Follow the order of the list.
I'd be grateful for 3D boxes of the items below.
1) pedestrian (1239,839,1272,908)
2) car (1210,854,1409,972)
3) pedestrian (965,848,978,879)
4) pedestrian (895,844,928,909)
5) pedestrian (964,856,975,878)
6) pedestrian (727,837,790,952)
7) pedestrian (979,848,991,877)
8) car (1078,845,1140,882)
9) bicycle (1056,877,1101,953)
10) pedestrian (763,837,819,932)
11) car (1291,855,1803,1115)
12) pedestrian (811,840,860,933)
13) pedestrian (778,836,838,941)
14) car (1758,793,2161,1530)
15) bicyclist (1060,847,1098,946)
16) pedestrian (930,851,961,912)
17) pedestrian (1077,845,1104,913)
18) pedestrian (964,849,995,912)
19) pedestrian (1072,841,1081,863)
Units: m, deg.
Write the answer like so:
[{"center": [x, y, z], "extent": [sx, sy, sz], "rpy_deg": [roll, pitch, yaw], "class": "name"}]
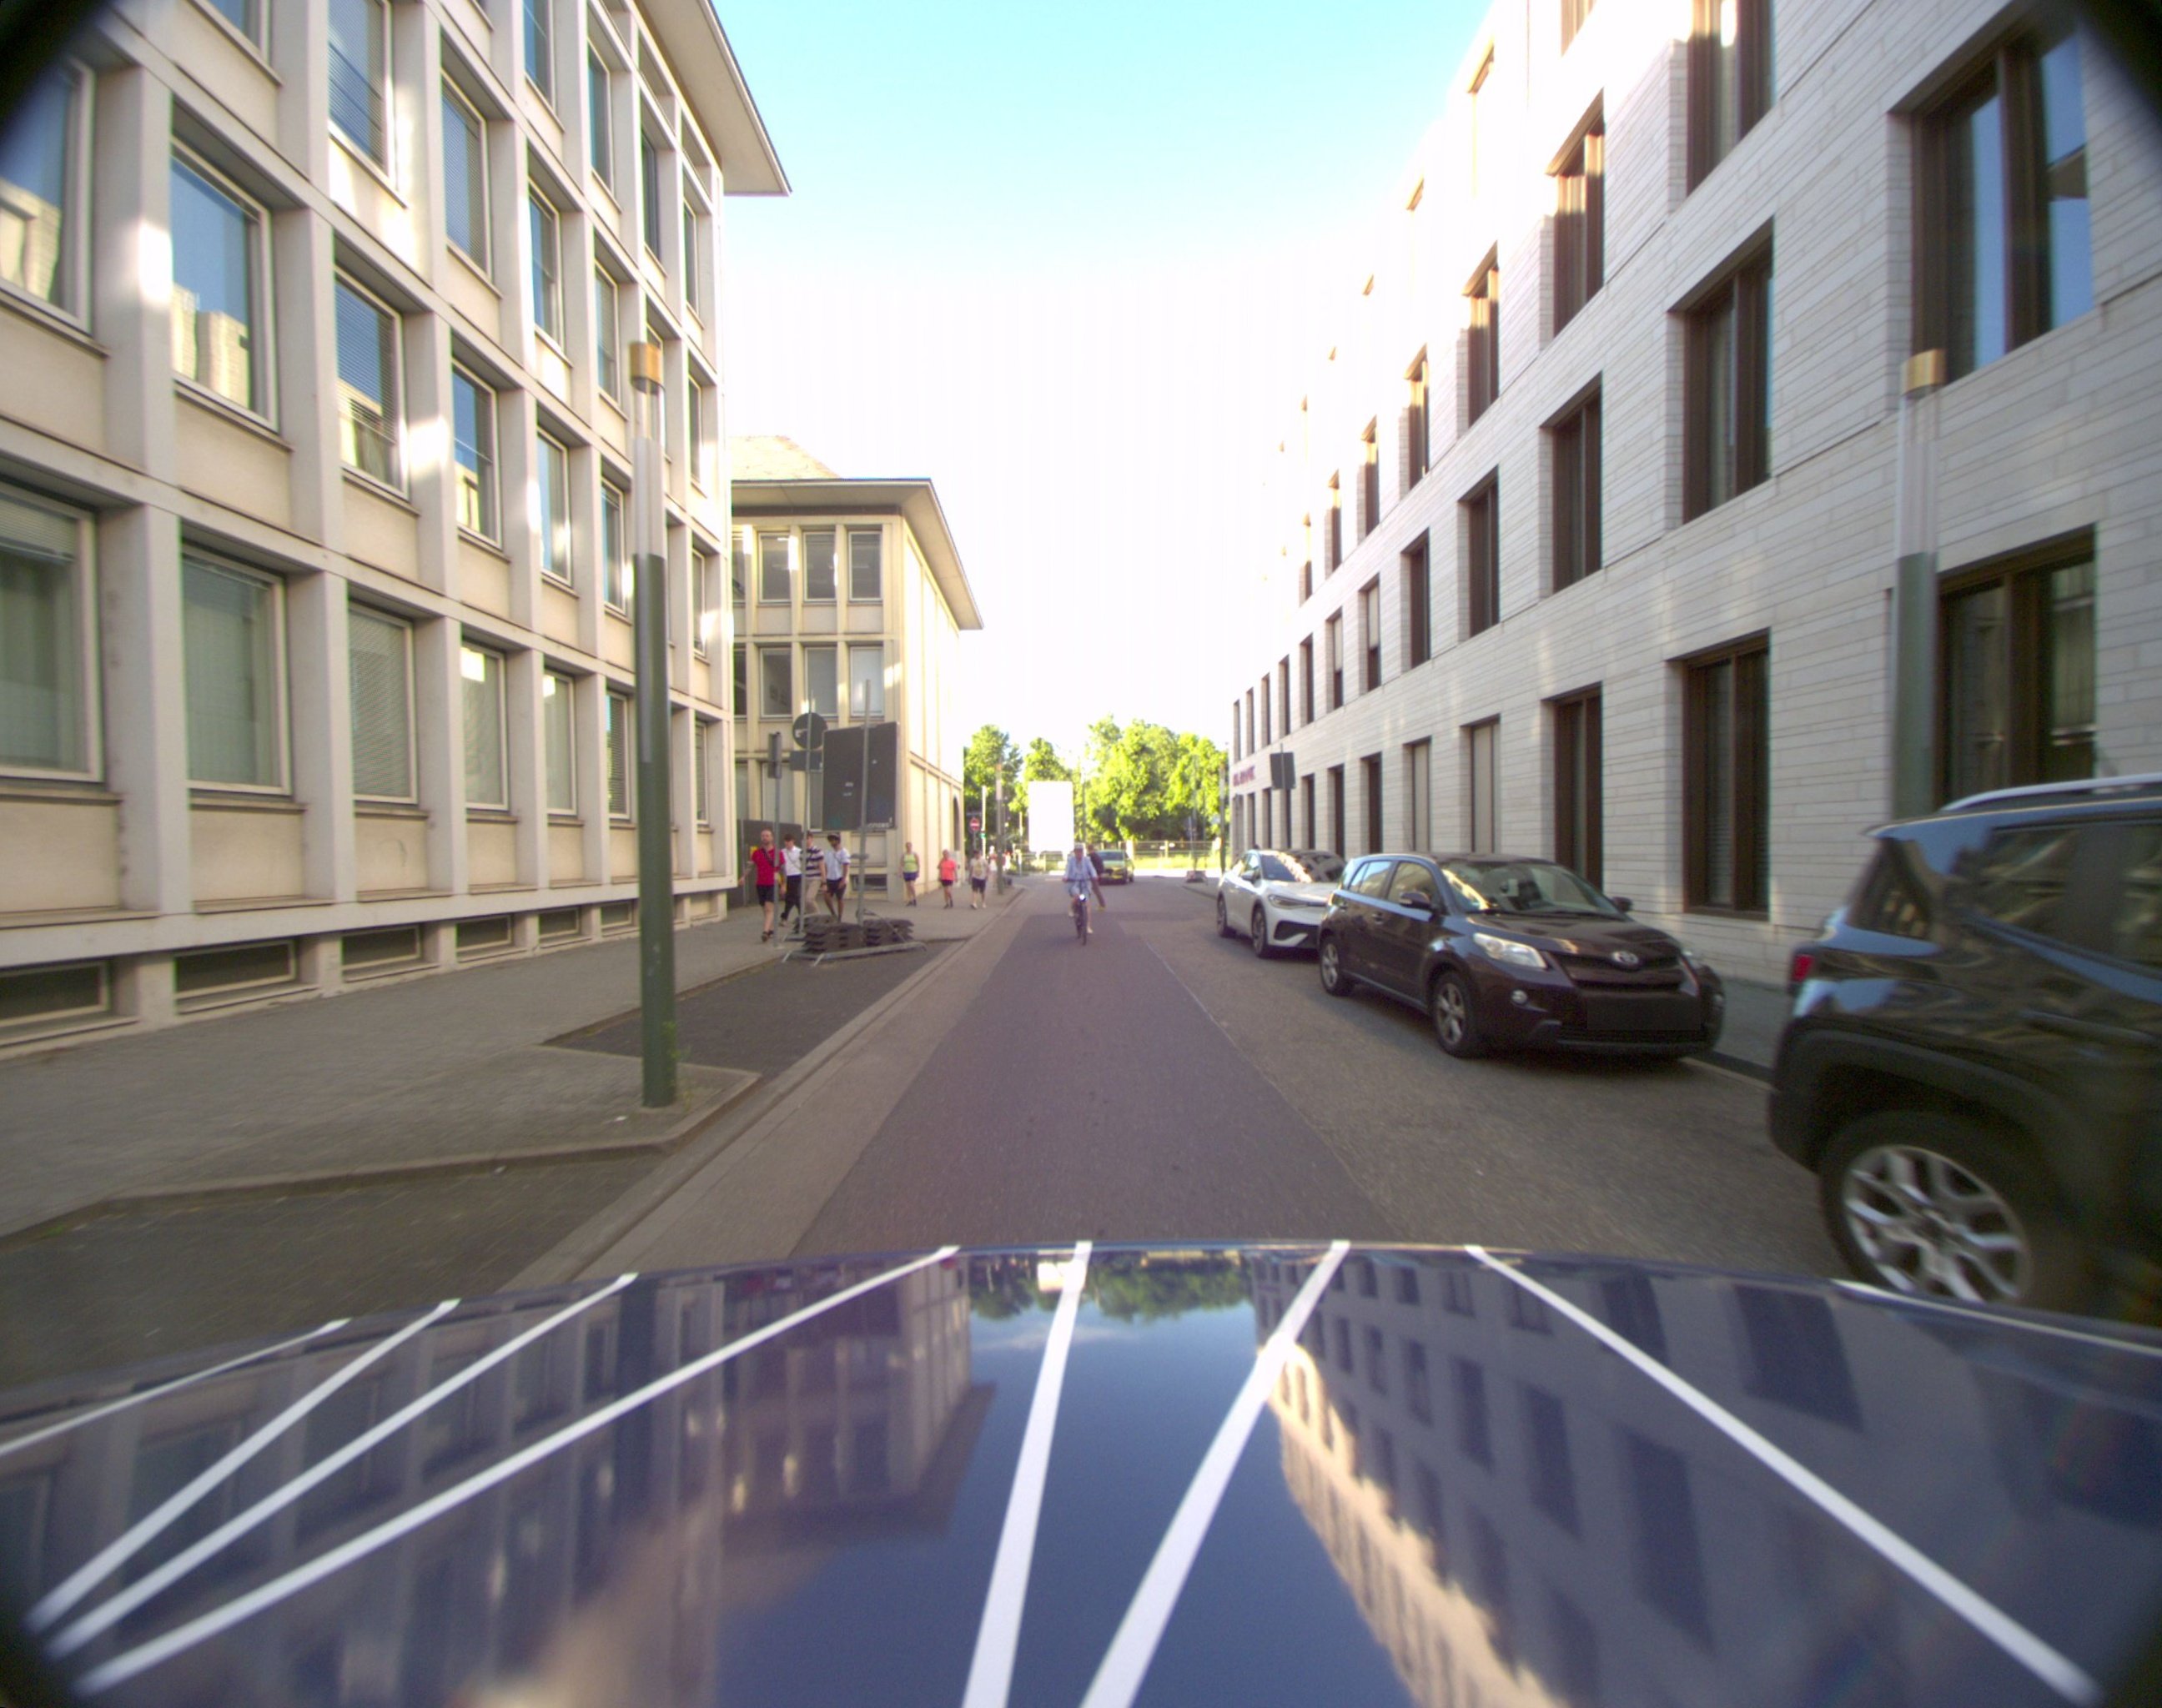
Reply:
[{"center": [4.680, 0.504, 20.430], "extent": [0.645, 1.780, 0.816], "rpy_deg": [-2, 2, 0], "class": "pedestrian"}, {"center": [3.396, 0.782, 12.272], "extent": [1.827, 1.532, 4.446], "rpy_deg": [0, 0, -1], "class": "car"}, {"center": [-5.996, 0.508, 41.797], "extent": [0.626, 1.633, 0.622], "rpy_deg": [-2, 2, -6], "class": "pedestrian"}, {"center": [-4.624, 0.598, 20.718], "extent": [0.685, 1.706, 0.693], "rpy_deg": [2, 1, 1], "class": "pedestrian"}, {"center": [-6.237, 0.728, 42.440], "extent": [0.535, 1.170, 0.623], "rpy_deg": [-2, 2, -6], "class": "pedestrian"}, {"center": [-5.164, 0.629, 12.180], "extent": [0.685, 1.768, 0.593], "rpy_deg": [3, 1, 1], "class": "pedestrian"}, {"center": [-5.348, 0.472, 42.269], "extent": [0.626, 1.605, 0.622], "rpy_deg": [-2, 2, -6], "class": "pedestrian"}, {"center": [1.344, 0.407, 34.587], "extent": [1.996, 1.451, 4.439], "rpy_deg": [-1, 2, 13], "class": "car"}, {"center": [-0.003, 1.023, 13.449], "extent": [0.595, 1.077, 2.310], "rpy_deg": [-2, 2, 4], "class": "bicycle"}, {"center": [-5.659, 0.582, 14.858], "extent": [0.685, 1.768, 0.693], "rpy_deg": [5, 1, 1], "class": "pedestrian"}, {"center": [3.480, 0.806, 6.810], "extent": [1.827, 1.532, 4.262], "rpy_deg": [-1, 0, -3], "class": "car"}, {"center": [-4.767, 0.615, 14.776], "extent": [0.685, 1.768, 0.693], "rpy_deg": [1, 1, 1], "class": "pedestrian"}, {"center": [-4.859, 0.601, 13.561], "extent": [0.685, 1.768, 0.693], "rpy_deg": [5, 1, 1], "class": "pedestrian"}, {"center": [3.449, 0.729, 0.784], "extent": [1.827, 1.704, 4.017], "rpy_deg": [1, 0, -1], "class": "car"}, {"center": [-0.021, 0.734, 13.346], "extent": [0.585, 1.679, 0.538], "rpy_deg": [-2, 2, 3], "class": "bicyclist"}, {"center": [-3.688, 0.724, 20.669], "extent": [0.685, 1.627, 0.693], "rpy_deg": [1, 1, 1], "class": "pedestrian"}, {"center": [0.251, 0.647, 20.334], "extent": [0.643, 1.780, 0.575], "rpy_deg": [1, 2, 0], "class": "pedestrian"}, {"center": [-2.838, 0.724, 21.270], "extent": [0.685, 1.706, 0.693], "rpy_deg": [3, 1, 1], "class": "pedestrian"}, {"center": [-0.399, -0.174, 64.351], "extent": [0.623, 1.773, 0.626], "rpy_deg": [-2, 2, -6], "class": "pedestrian"}]
